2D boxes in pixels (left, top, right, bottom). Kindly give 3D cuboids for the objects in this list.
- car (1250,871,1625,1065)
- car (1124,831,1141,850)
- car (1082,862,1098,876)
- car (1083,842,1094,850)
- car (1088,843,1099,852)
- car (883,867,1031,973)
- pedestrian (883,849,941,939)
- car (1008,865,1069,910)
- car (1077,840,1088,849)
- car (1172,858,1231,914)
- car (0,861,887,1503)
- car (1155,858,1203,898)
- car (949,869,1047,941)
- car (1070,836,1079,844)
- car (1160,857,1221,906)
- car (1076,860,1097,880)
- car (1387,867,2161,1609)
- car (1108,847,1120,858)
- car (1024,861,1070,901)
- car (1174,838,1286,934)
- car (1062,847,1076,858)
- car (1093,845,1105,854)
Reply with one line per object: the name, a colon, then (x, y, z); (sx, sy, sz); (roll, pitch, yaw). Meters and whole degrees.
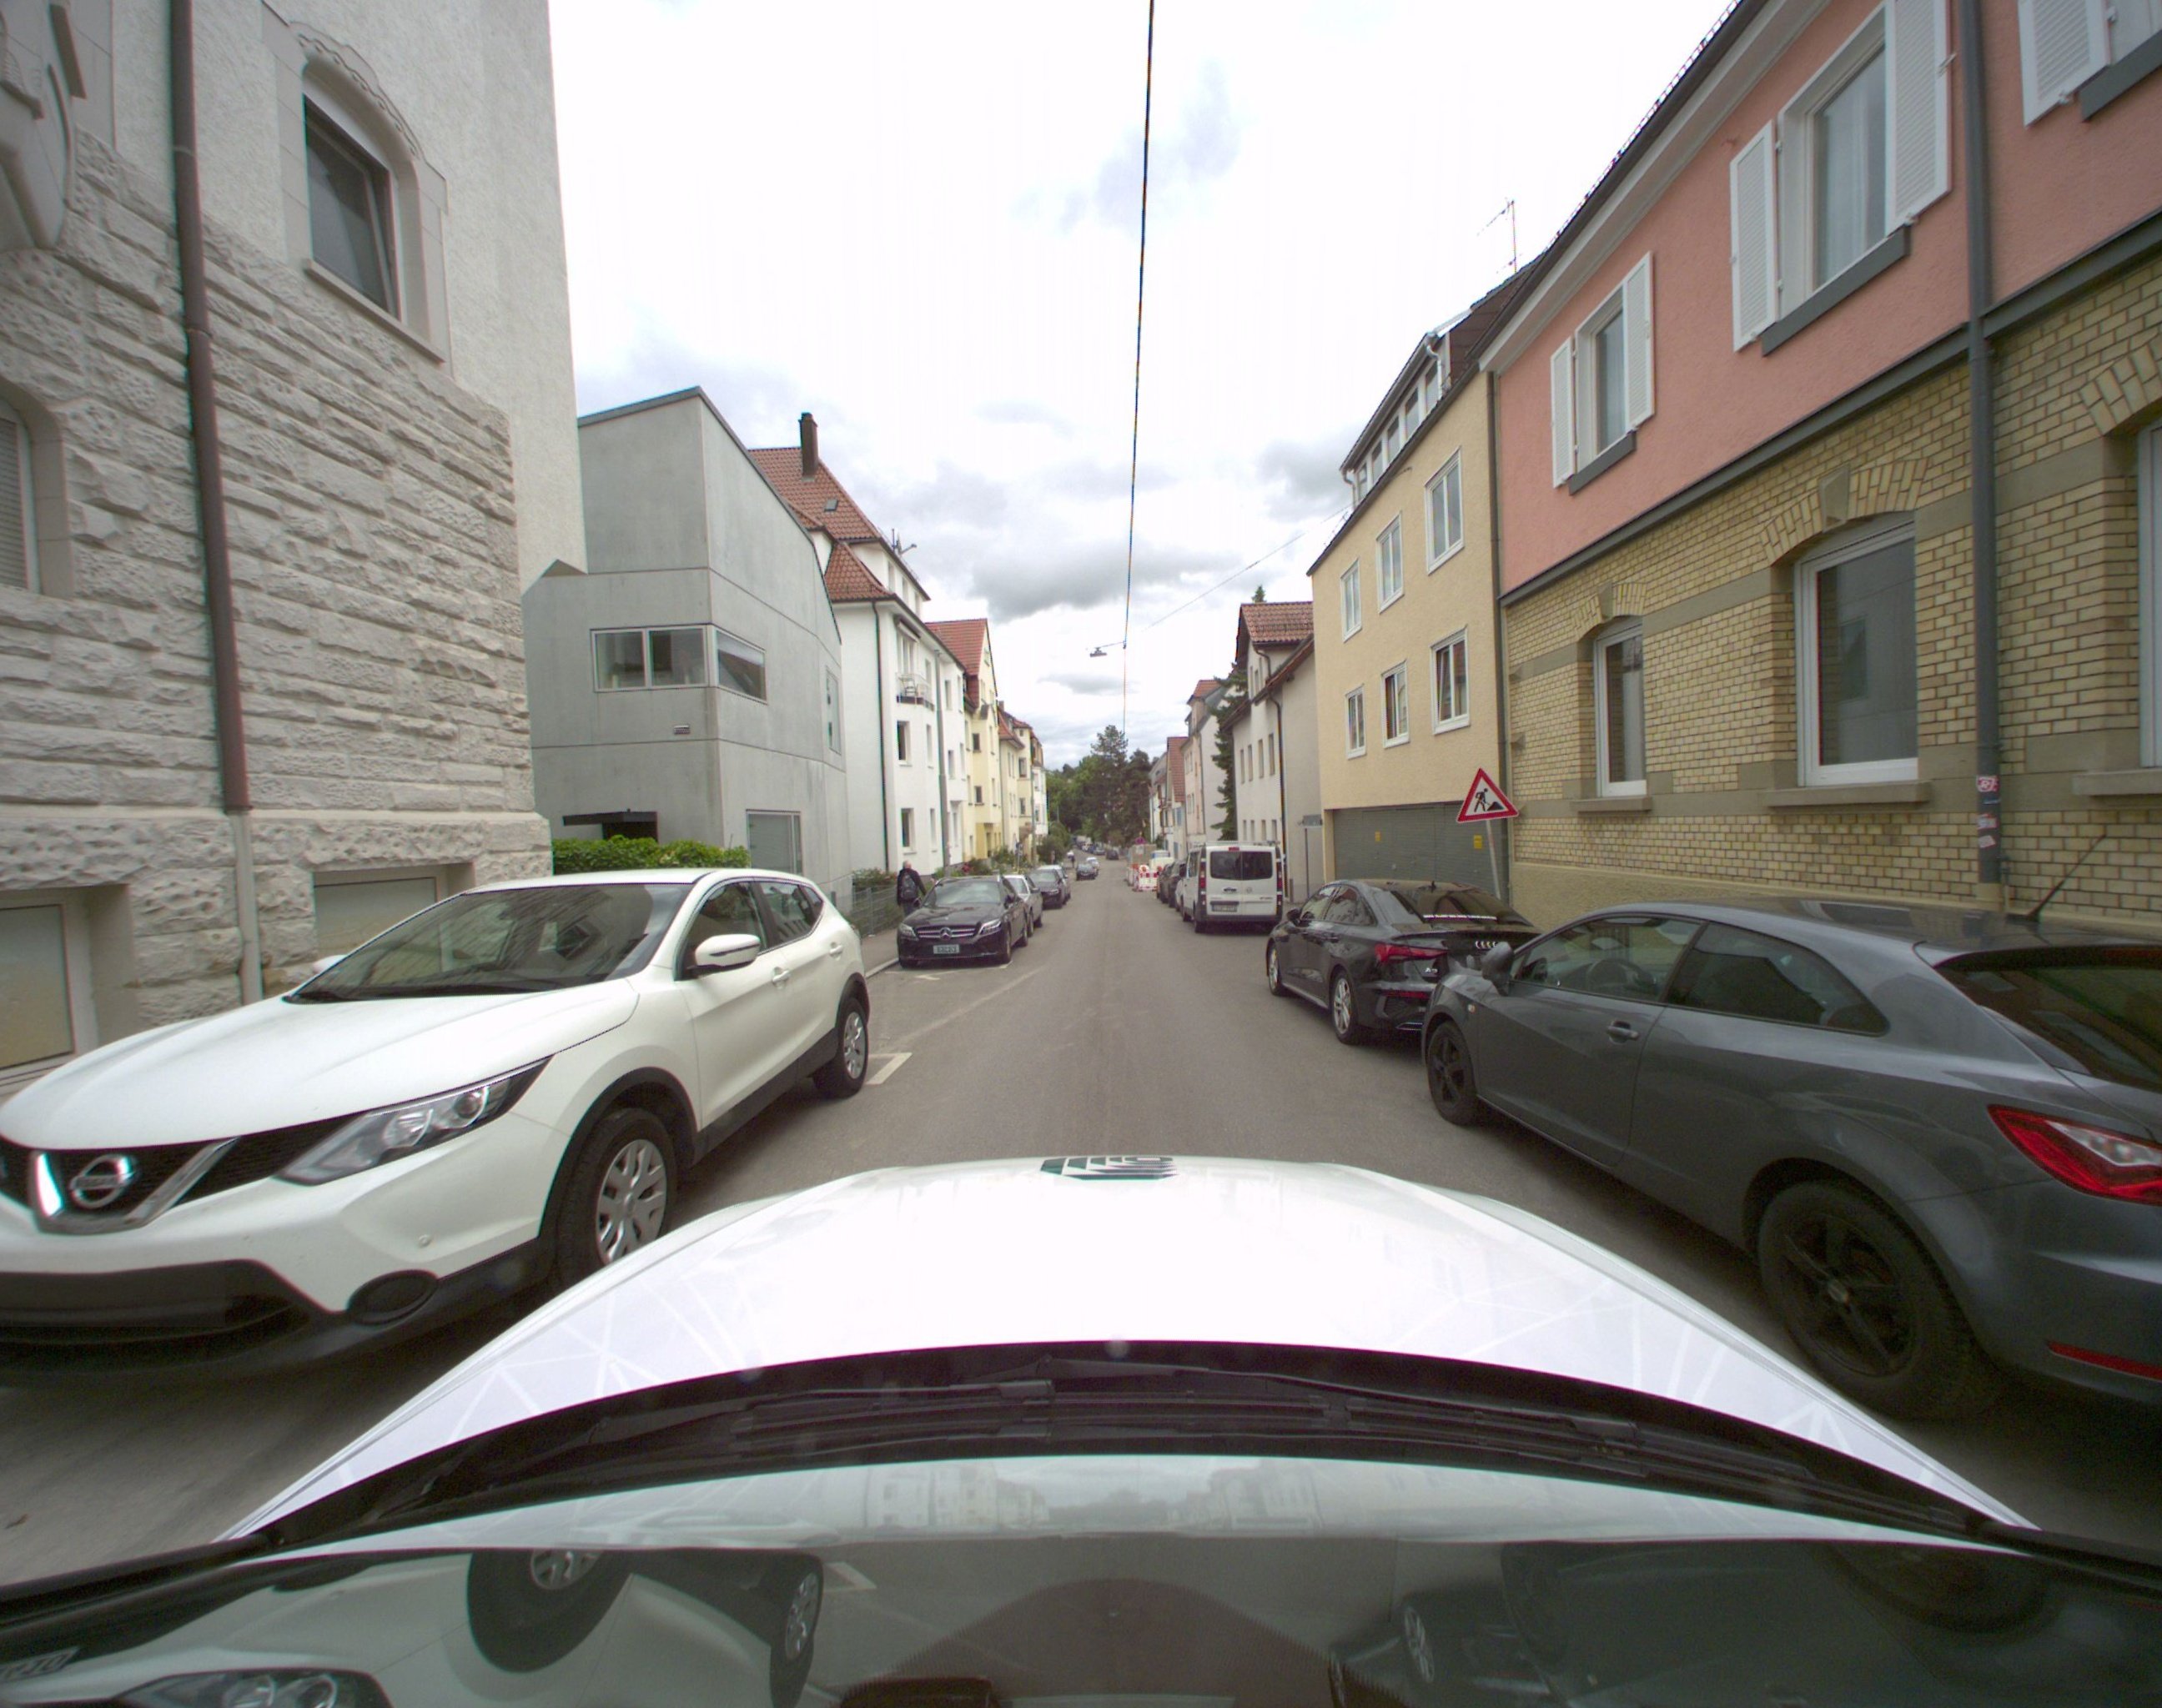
car: (3.092, 0.883, 8.271); (1.846, 1.403, 4.575); (-1, -1, 1)
car: (6.620, -1.727, 104.970); (1.973, 2.362, 4.278); (-2, 1, 1)
car: (1.033, 1.637, 91.010); (1.636, 1.416, 3.985); (-3, 0, 1)
car: (1.391, -1.562, 158.178); (1.633, 1.537, 3.523); (-1, 3, -7)
car: (2.271, -1.202, 151.994); (1.633, 1.483, 3.523); (-1, 3, -7)
car: (-2.017, 1.041, 14.589); (1.890, 1.527, 4.470); (-2, -1, 0)
pedestrian: (-3.644, 0.848, 17.587); (0.809, 1.884, 0.852); (-3, -1, 24)
car: (-1.528, 1.203, 30.882); (1.838, 1.457, 4.506); (-3, -1, 2)
car: (0.291, -1.927, 163.963); (1.633, 1.537, 3.523); (-1, 3, -7)
car: (3.633, 0.927, 24.900); (1.481, 1.596, 2.793); (-1, 0, 3)
car: (-2.451, 0.850, 4.157); (1.839, 1.515, 4.240); (-2, 0, 0)
car: (4.093, 0.977, 34.475); (1.708, 1.565, 4.075); (-1, 0, 2)
car: (-1.913, 1.158, 20.263); (1.839, 1.413, 5.061); (-2, 0, 0)
car: (-1.367, -3.038, 178.608); (1.633, 1.537, 3.523); (-1, 3, -7)
car: (3.879, 0.927, 29.399); (1.707, 1.596, 4.500); (-1, 0, 2)
car: (0.502, 1.518, 80.223); (1.839, 1.815, 4.542); (-3, 0, -1)
car: (3.048, 0.799, 3.600); (1.847, 1.403, 3.965); (-1, 0, -1)
car: (5.457, -0.238, 135.687); (1.632, 1.483, 3.524); (-1, 3, -6)
car: (-1.486, 1.169, 36.801); (1.839, 1.631, 4.286); (-2, 0, 0)
car: (3.499, 0.683, 20.221); (1.898, 2.030, 5.735); (-1, 0, 2)
car: (-2.136, -0.270, 145.002); (1.673, 1.656, 3.849); (-3, 3, -11)
car: (3.203, -0.807, 147.630); (1.633, 1.483, 3.523); (-1, 3, -7)
